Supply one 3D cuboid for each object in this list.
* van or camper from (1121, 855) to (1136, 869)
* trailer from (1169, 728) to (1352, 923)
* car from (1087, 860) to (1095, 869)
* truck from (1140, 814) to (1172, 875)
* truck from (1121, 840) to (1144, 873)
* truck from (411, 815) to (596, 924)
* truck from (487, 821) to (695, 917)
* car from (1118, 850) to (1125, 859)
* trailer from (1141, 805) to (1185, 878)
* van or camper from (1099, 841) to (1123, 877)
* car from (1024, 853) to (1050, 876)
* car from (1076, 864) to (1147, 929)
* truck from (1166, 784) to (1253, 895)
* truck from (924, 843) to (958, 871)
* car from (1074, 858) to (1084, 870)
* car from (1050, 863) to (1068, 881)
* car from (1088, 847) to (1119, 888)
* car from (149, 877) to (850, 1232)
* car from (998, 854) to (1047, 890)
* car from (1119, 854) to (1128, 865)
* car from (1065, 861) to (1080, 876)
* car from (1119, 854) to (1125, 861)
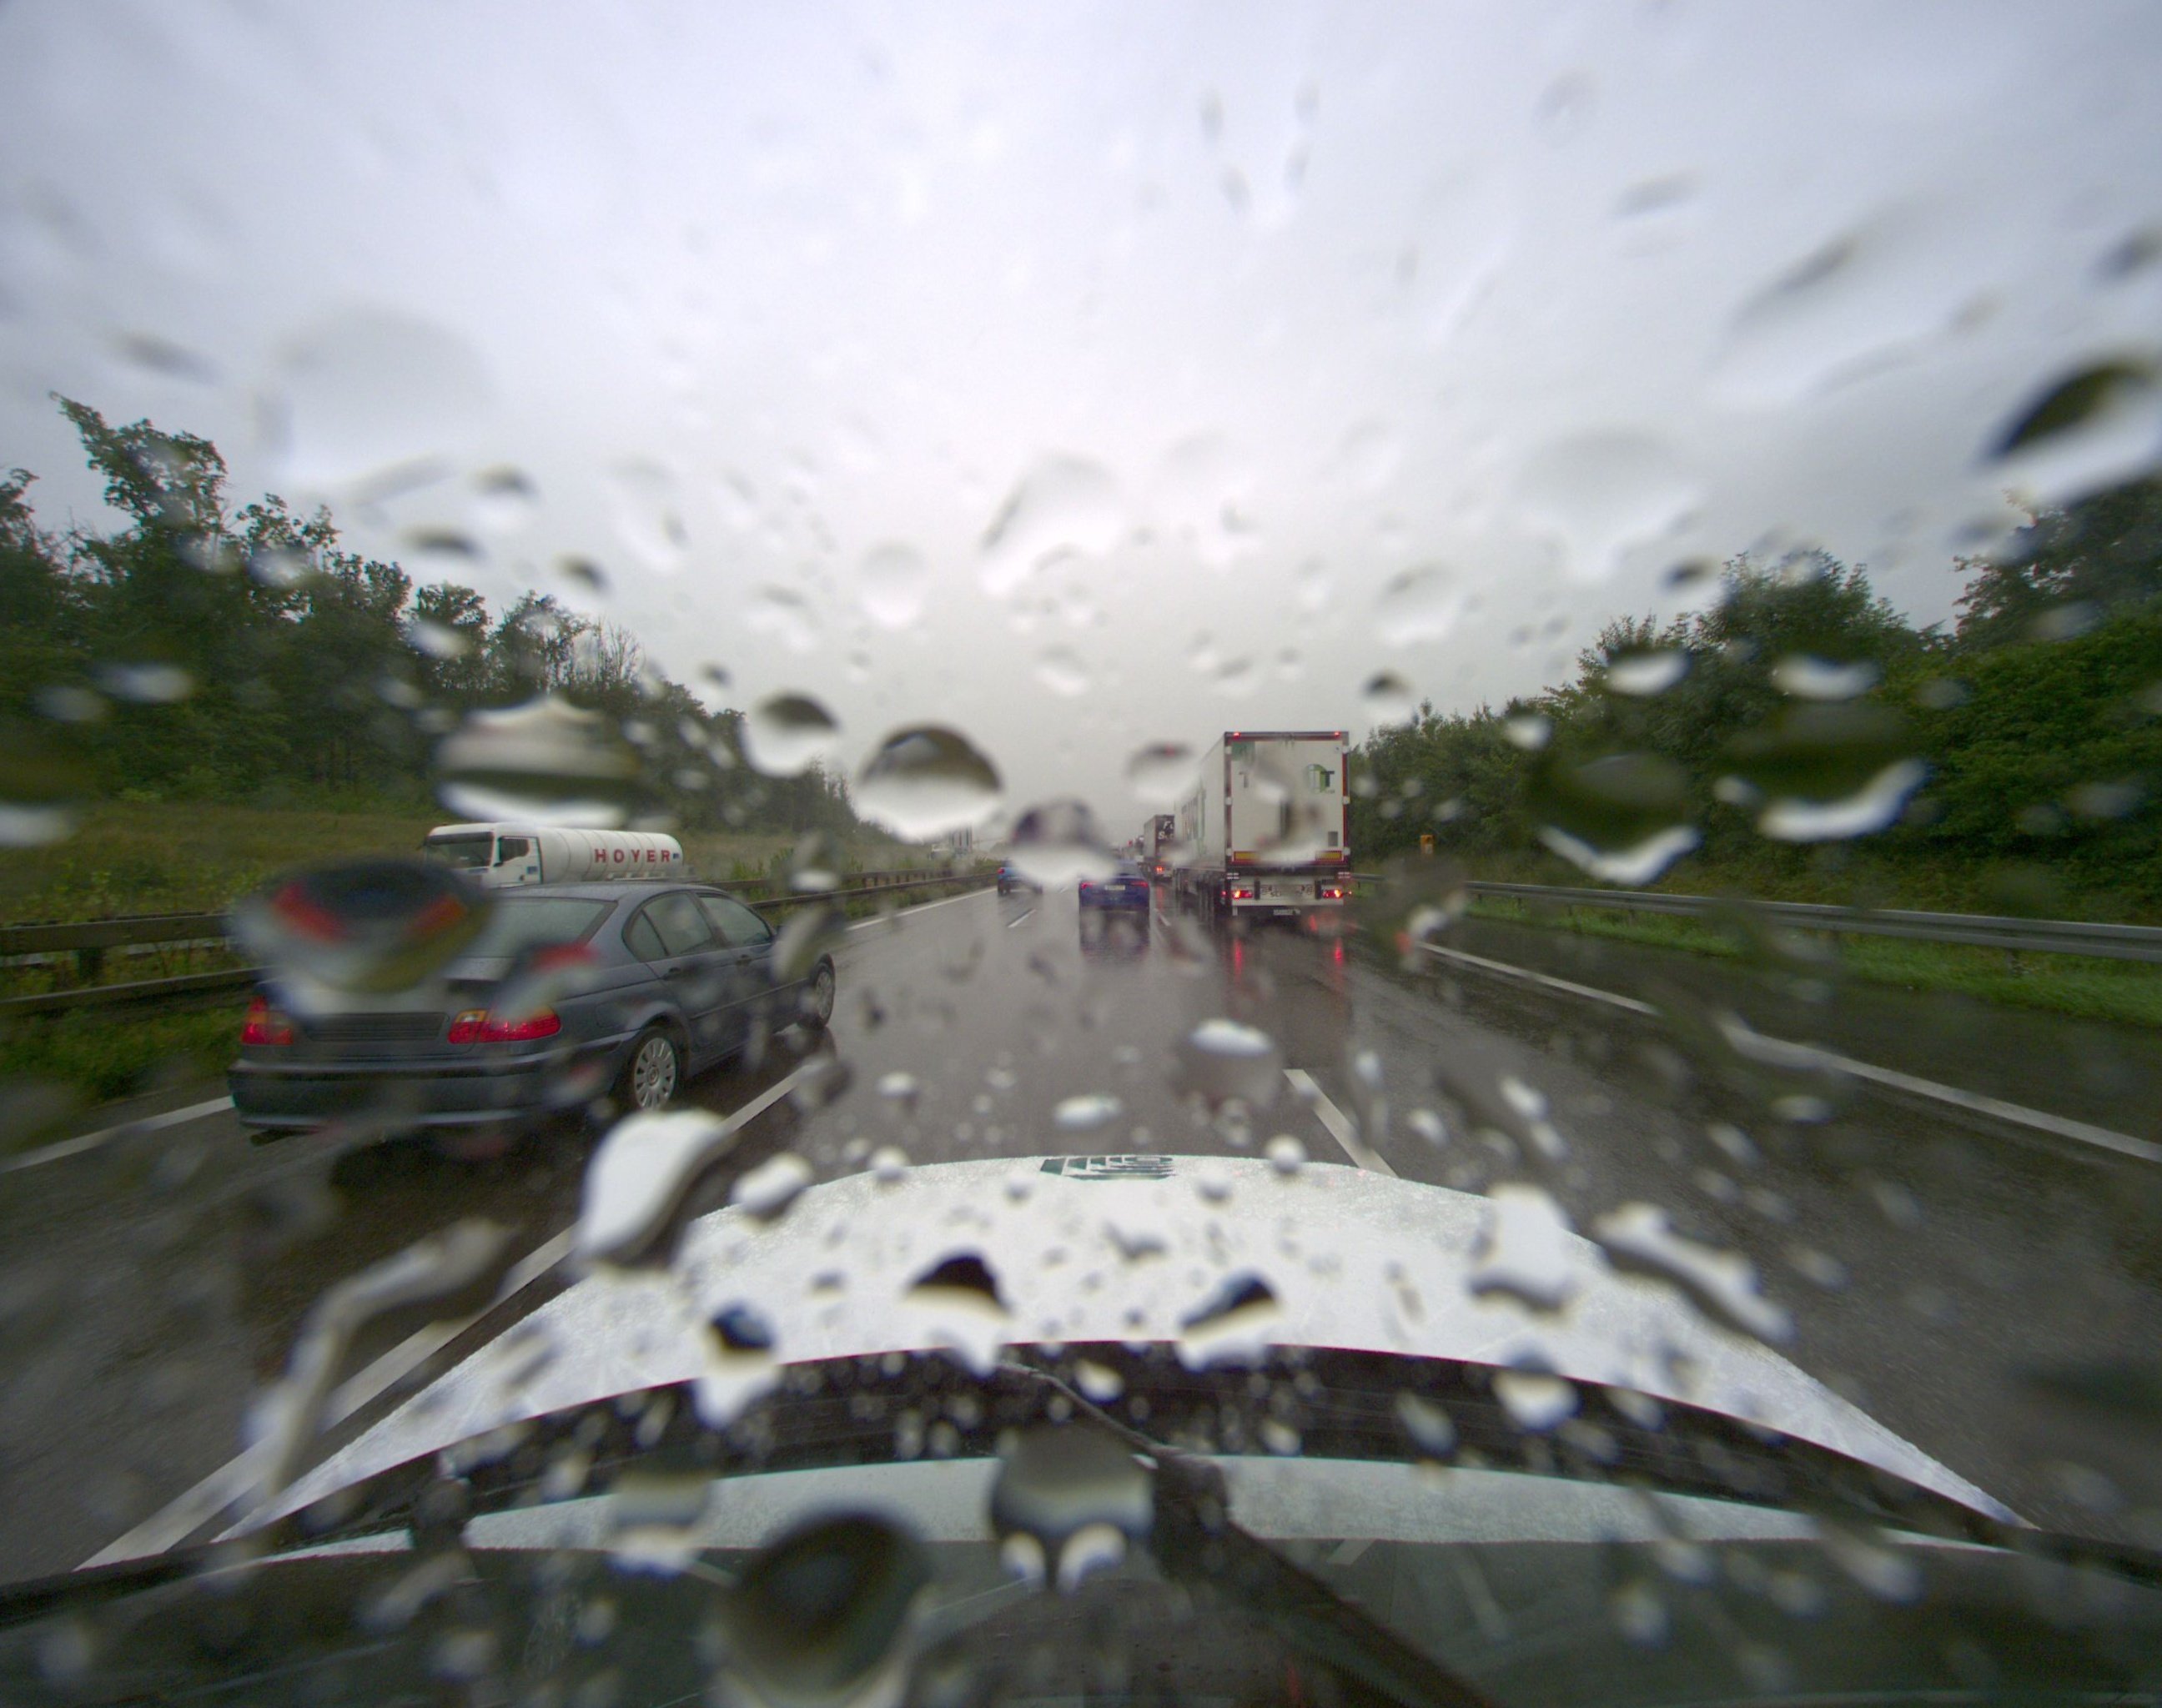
[{"bbox_3d":[5.755,0.990,98.853,1.765,1.625,4.486,-1,0,2],"label":"van or camper"},{"bbox_3d":[4.521,-0.596,24.225,2.620,4.013,14.636,-1,0,2],"label":"trailer"},{"bbox_3d":[1.975,2.161,164.664,1.443,1.784,3.411,-1,-1,2],"label":"car"},{"bbox_3d":[5.323,-0.685,58.276,2.039,4.193,4.002,-1,0,2],"label":"truck"},{"bbox_3d":[5.507,0.249,88.353,1.987,3.421,8.033,-1,0,1],"label":"truck"},{"bbox_3d":[-19.721,0.539,28.235,2.532,3.280,5.199,-3,-1,1],"label":"truck"},{"bbox_3d":[-19.560,0.653,33.482,2.545,3.298,9.351,-3,-2,2],"label":"truck"},{"bbox_3d":[8.715,0.048,173.896,1.331,1.890,3.041,-2,0,2],"label":"car"},{"bbox_3d":[5.117,-0.708,52.503,2.039,4.176,11.453,-1,0,2],"label":"trailer"},{"bbox_3d":[2.421,0.380,65.230,1.790,2.806,4.770,-1,0,2],"label":"van or camper"},{"bbox_3d":[-2.910,0.659,54.095,1.354,1.431,3.365,-1,0,2],"label":"car"},{"bbox_3d":[0.817,1.021,21.099,1.629,1.445,4.003,-1,0,3],"label":"car"},{"bbox_3d":[4.752,-0.512,30.927,2.620,3.827,4.793,-1,0,2],"label":"truck"},{"bbox_3d":[-14.451,0.362,84.273,2.471,2.719,4.530,-3,-2,3],"label":"truck"},{"bbox_3d":[-0.306,1.529,123.729,1.443,1.784,3.411,-1,-1,2],"label":"car"},{"bbox_3d":[-1.925,1.571,71.999,1.434,1.420,3.323,-1,0,2],"label":"car"},{"bbox_3d":[1.052,0.610,37.815,1.331,1.780,3.323,-1,0,2],"label":"car"},{"bbox_3d":[-3.115,0.921,5.626,1.712,1.400,4.231,-1,0,1],"label":"car"},{"bbox_3d":[-2.561,0.775,36.507,1.714,1.523,4.003,-1,0,3],"label":"car"},{"bbox_3d":[7.190,0.929,139.250,1.443,1.784,3.411,-1,-1,2],"label":"car"},{"bbox_3d":[-0.884,1.557,86.522,1.434,1.533,3.323,-1,0,2],"label":"car"},{"bbox_3d":[11.466,1.035,228.344,1.443,1.784,3.411,-1,-1,2],"label":"car"}]
